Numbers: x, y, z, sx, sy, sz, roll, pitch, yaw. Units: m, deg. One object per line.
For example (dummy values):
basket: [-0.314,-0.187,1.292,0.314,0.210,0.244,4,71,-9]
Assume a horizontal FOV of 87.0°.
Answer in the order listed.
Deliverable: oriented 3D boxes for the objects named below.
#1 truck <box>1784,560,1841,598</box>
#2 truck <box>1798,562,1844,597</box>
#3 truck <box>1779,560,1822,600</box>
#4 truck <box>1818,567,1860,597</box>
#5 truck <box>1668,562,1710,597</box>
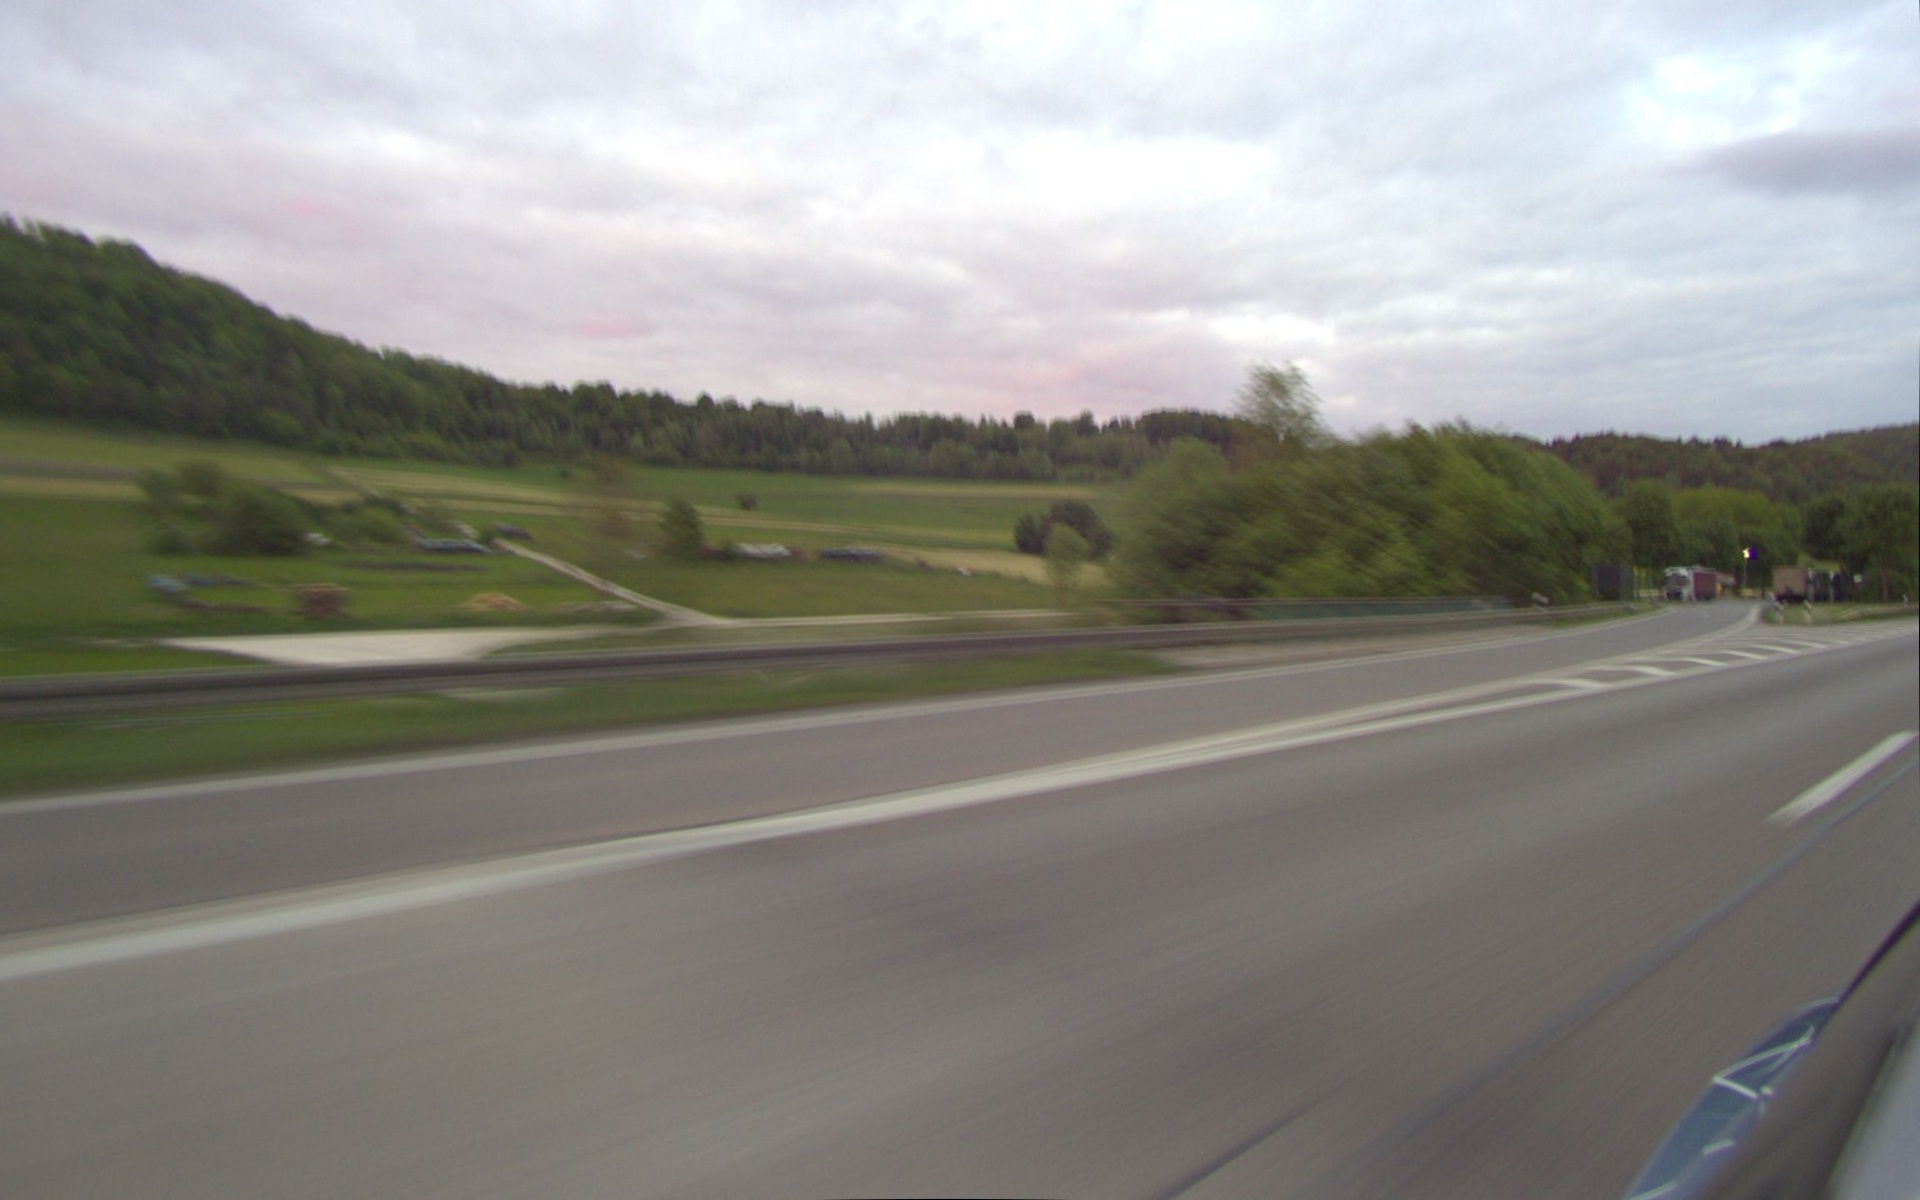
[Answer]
truck: [103.180,-2.562,122.285,3.776,4.281,19.215,2,2,44]
truck: [109.966,-2.681,129.216,3.774,4.281,8.675,2,2,45]
truck: [89.772,-2.148,108.012,2.838,3.964,11.805,2,2,43]
truck: [121.069,-2.524,139.306,11.792,3.964,3.356,-1,2,-44]
truck: [86.542,-2.435,120.110,6.277,3.964,2.842,-1,2,-43]
